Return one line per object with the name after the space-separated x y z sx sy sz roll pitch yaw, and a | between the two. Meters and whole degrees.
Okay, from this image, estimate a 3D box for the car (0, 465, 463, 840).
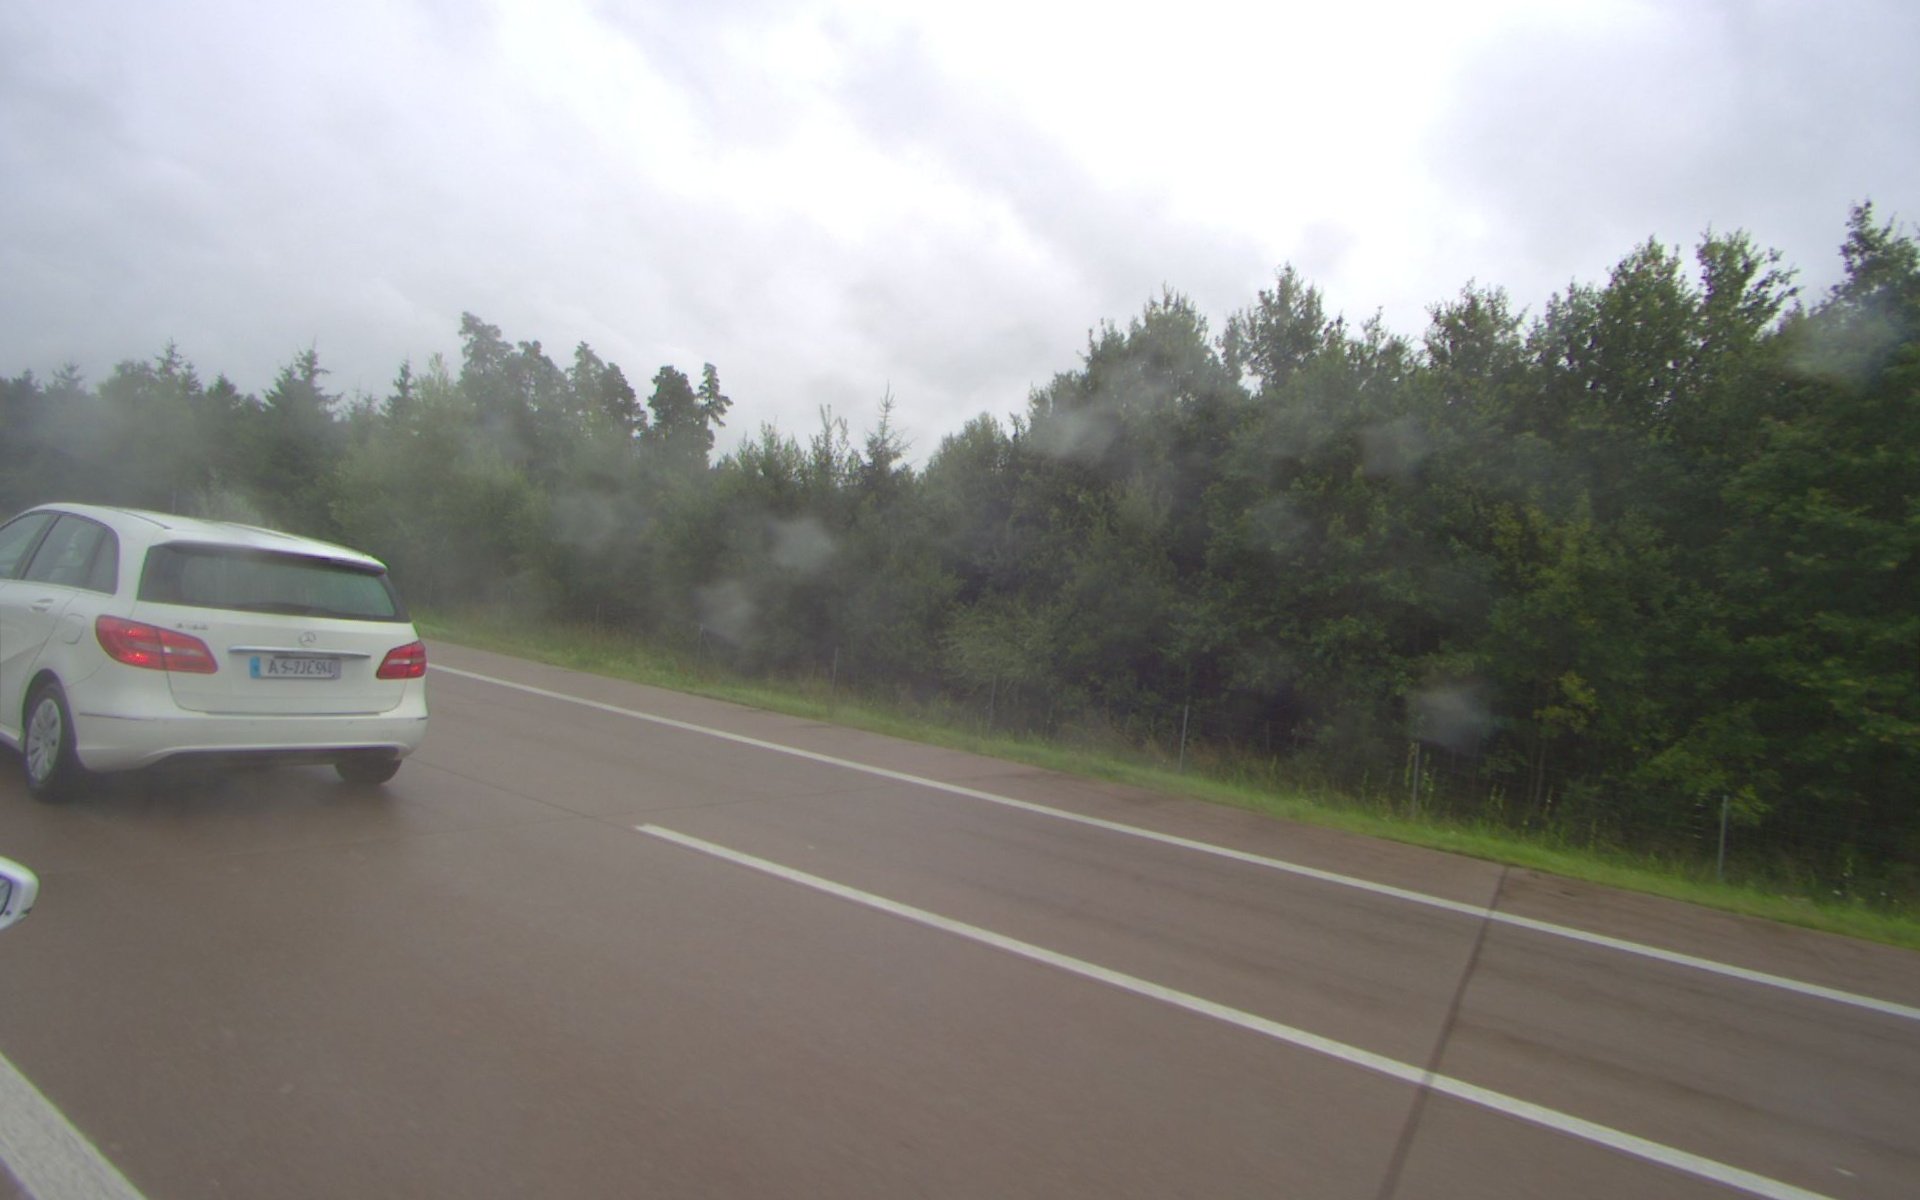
-5.667 0.140 6.755 4.665 1.748 1.812 6 -2 31 | car
